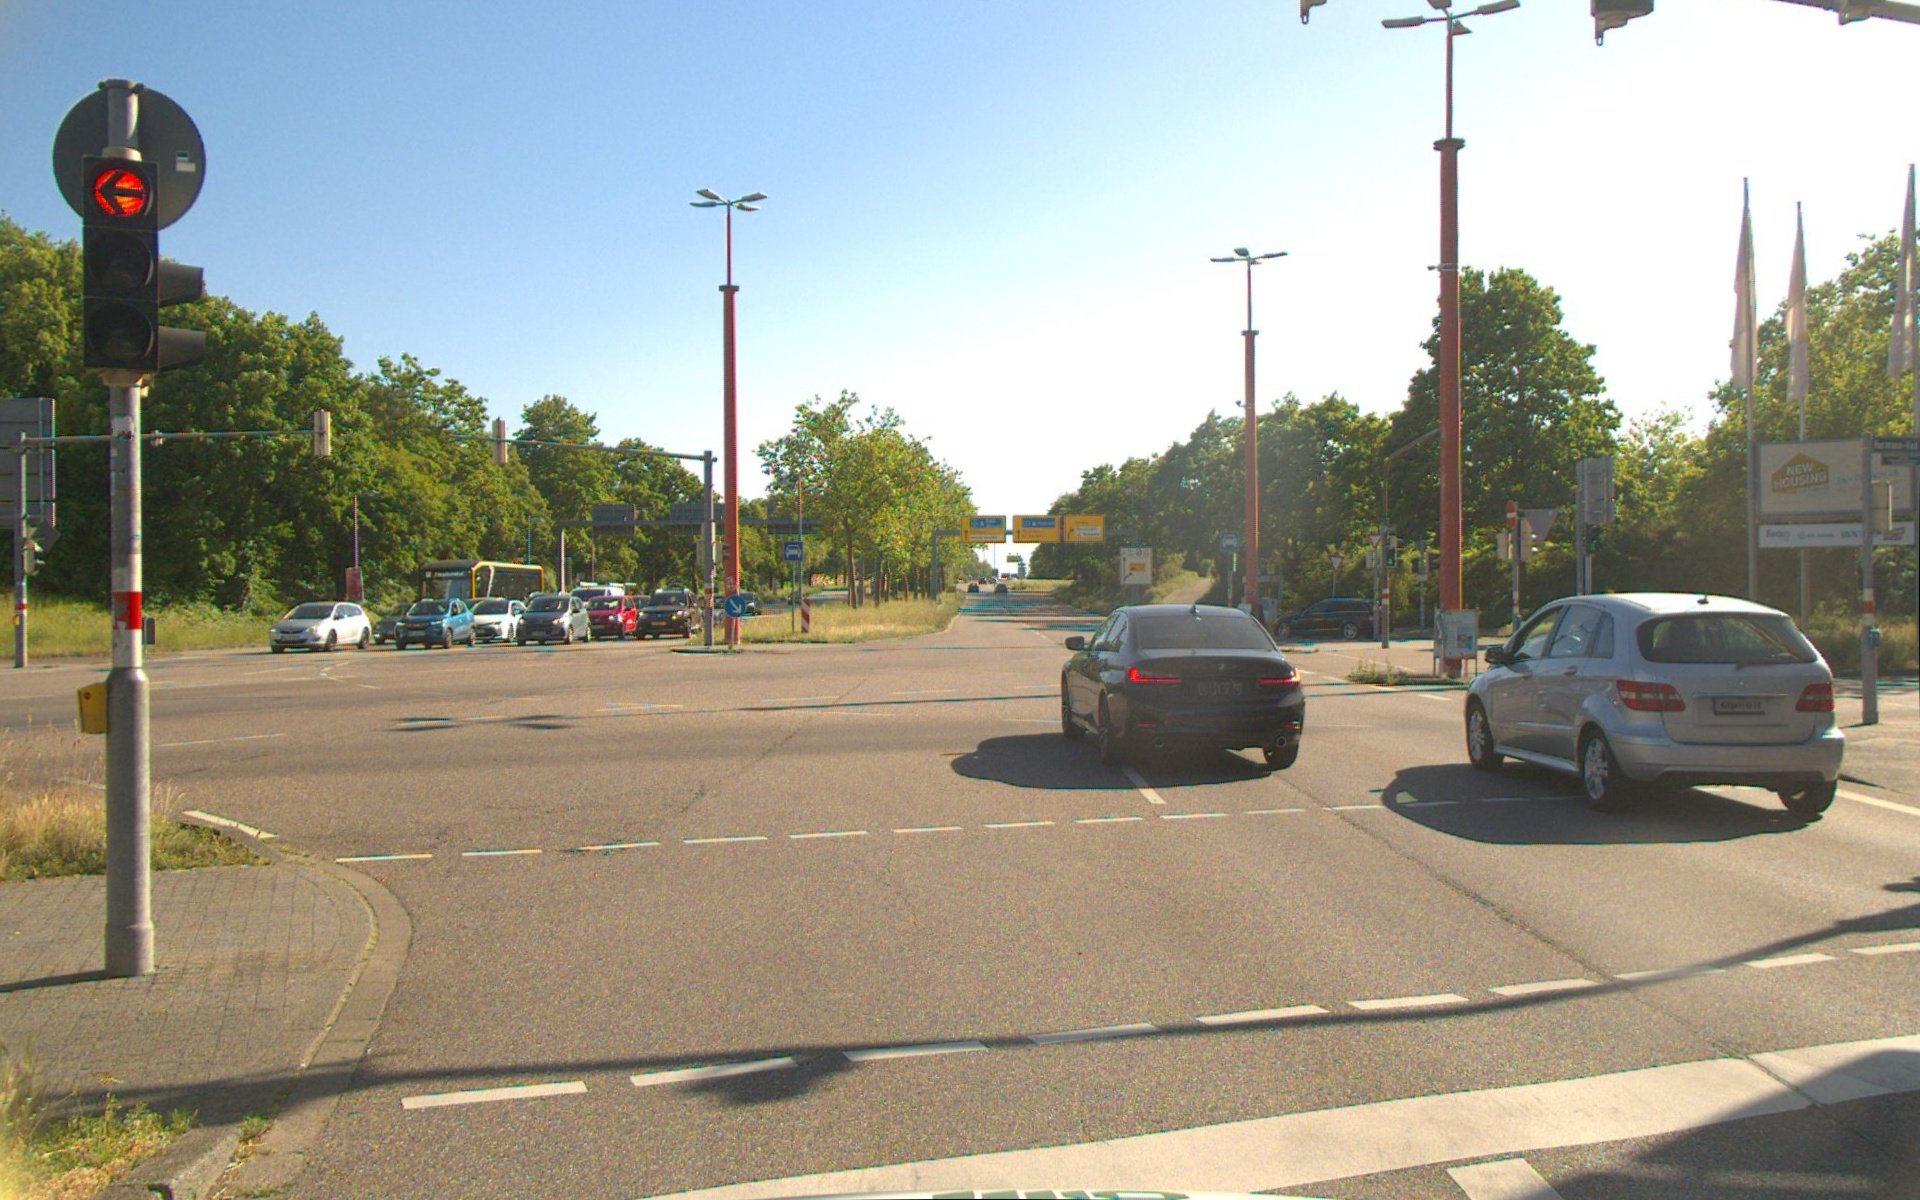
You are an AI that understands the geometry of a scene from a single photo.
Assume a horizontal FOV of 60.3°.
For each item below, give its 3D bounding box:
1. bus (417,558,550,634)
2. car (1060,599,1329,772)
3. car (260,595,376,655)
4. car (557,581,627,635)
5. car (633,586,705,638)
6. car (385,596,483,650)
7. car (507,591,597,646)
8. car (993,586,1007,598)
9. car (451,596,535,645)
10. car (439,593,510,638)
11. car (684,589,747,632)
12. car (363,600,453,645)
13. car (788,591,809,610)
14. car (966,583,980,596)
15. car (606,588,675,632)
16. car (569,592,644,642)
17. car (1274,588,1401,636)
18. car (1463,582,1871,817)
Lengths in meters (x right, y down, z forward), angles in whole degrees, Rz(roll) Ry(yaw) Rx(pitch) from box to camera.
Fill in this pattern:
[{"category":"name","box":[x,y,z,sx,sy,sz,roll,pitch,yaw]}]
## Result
[{"category":"bus","box":[-22.551,-0.156,79.129,2.591,3.318,12.535,1,0,0]},{"category":"car","box":[2.147,0.744,16.344,1.729,1.466,4.291,1,0,-5]},{"category":"car","box":[-19.550,0.740,50.525,1.838,1.681,4.219,-1,0,0]},{"category":"car","box":[-15.628,0.336,70.571,1.922,2.193,5.080,-1,0,-1]},{"category":"car","box":[-9.846,0.389,56.195,1.757,1.654,4.142,-2,0,-2]},{"category":"car","box":[-16.112,0.686,50.860,1.764,1.542,3.858,-2,0,0]},{"category":"car","box":[-12.777,0.555,52.072,1.836,1.577,4.027,-2,1,-1]},{"category":"car","box":[5.812,-1.176,241.567,1.953,1.764,3.999,1,0,-1]},{"category":"car","box":[-16.040,0.667,57.011,1.863,1.582,3.998,-1,0,-2]},{"category":"car","box":[-19.459,0.645,66.483,1.742,1.681,3.972,-3,-1,-2]},{"category":"car","box":[-9.358,0.379,63.681,1.847,1.570,3.999,-2,0,-1]},{"category":"car","box":[-19.896,0.779,59.778,1.846,1.539,4.000,-1,0,0]},{"category":"car","box":[-17.682,0.027,181.104,1.881,2.034,4.602,0,0,-1]},{"category":"car","box":[1.936,-1.535,244.728,1.953,1.764,3.999,1,0,-1]},{"category":"car","box":[-12.413,0.372,64.415,1.862,1.658,4.000,0,0,1]},{"category":"car","box":[-12.454,0.587,58.414,1.838,1.579,3.998,-3,0,-2]},{"category":"car","box":[13.785,0.426,60.487,4.222,1.664,1.759,1,0,43]},{"category":"car","box":[5.595,0.714,13.636,1.681,1.636,3.846,1,0,-1]}]
